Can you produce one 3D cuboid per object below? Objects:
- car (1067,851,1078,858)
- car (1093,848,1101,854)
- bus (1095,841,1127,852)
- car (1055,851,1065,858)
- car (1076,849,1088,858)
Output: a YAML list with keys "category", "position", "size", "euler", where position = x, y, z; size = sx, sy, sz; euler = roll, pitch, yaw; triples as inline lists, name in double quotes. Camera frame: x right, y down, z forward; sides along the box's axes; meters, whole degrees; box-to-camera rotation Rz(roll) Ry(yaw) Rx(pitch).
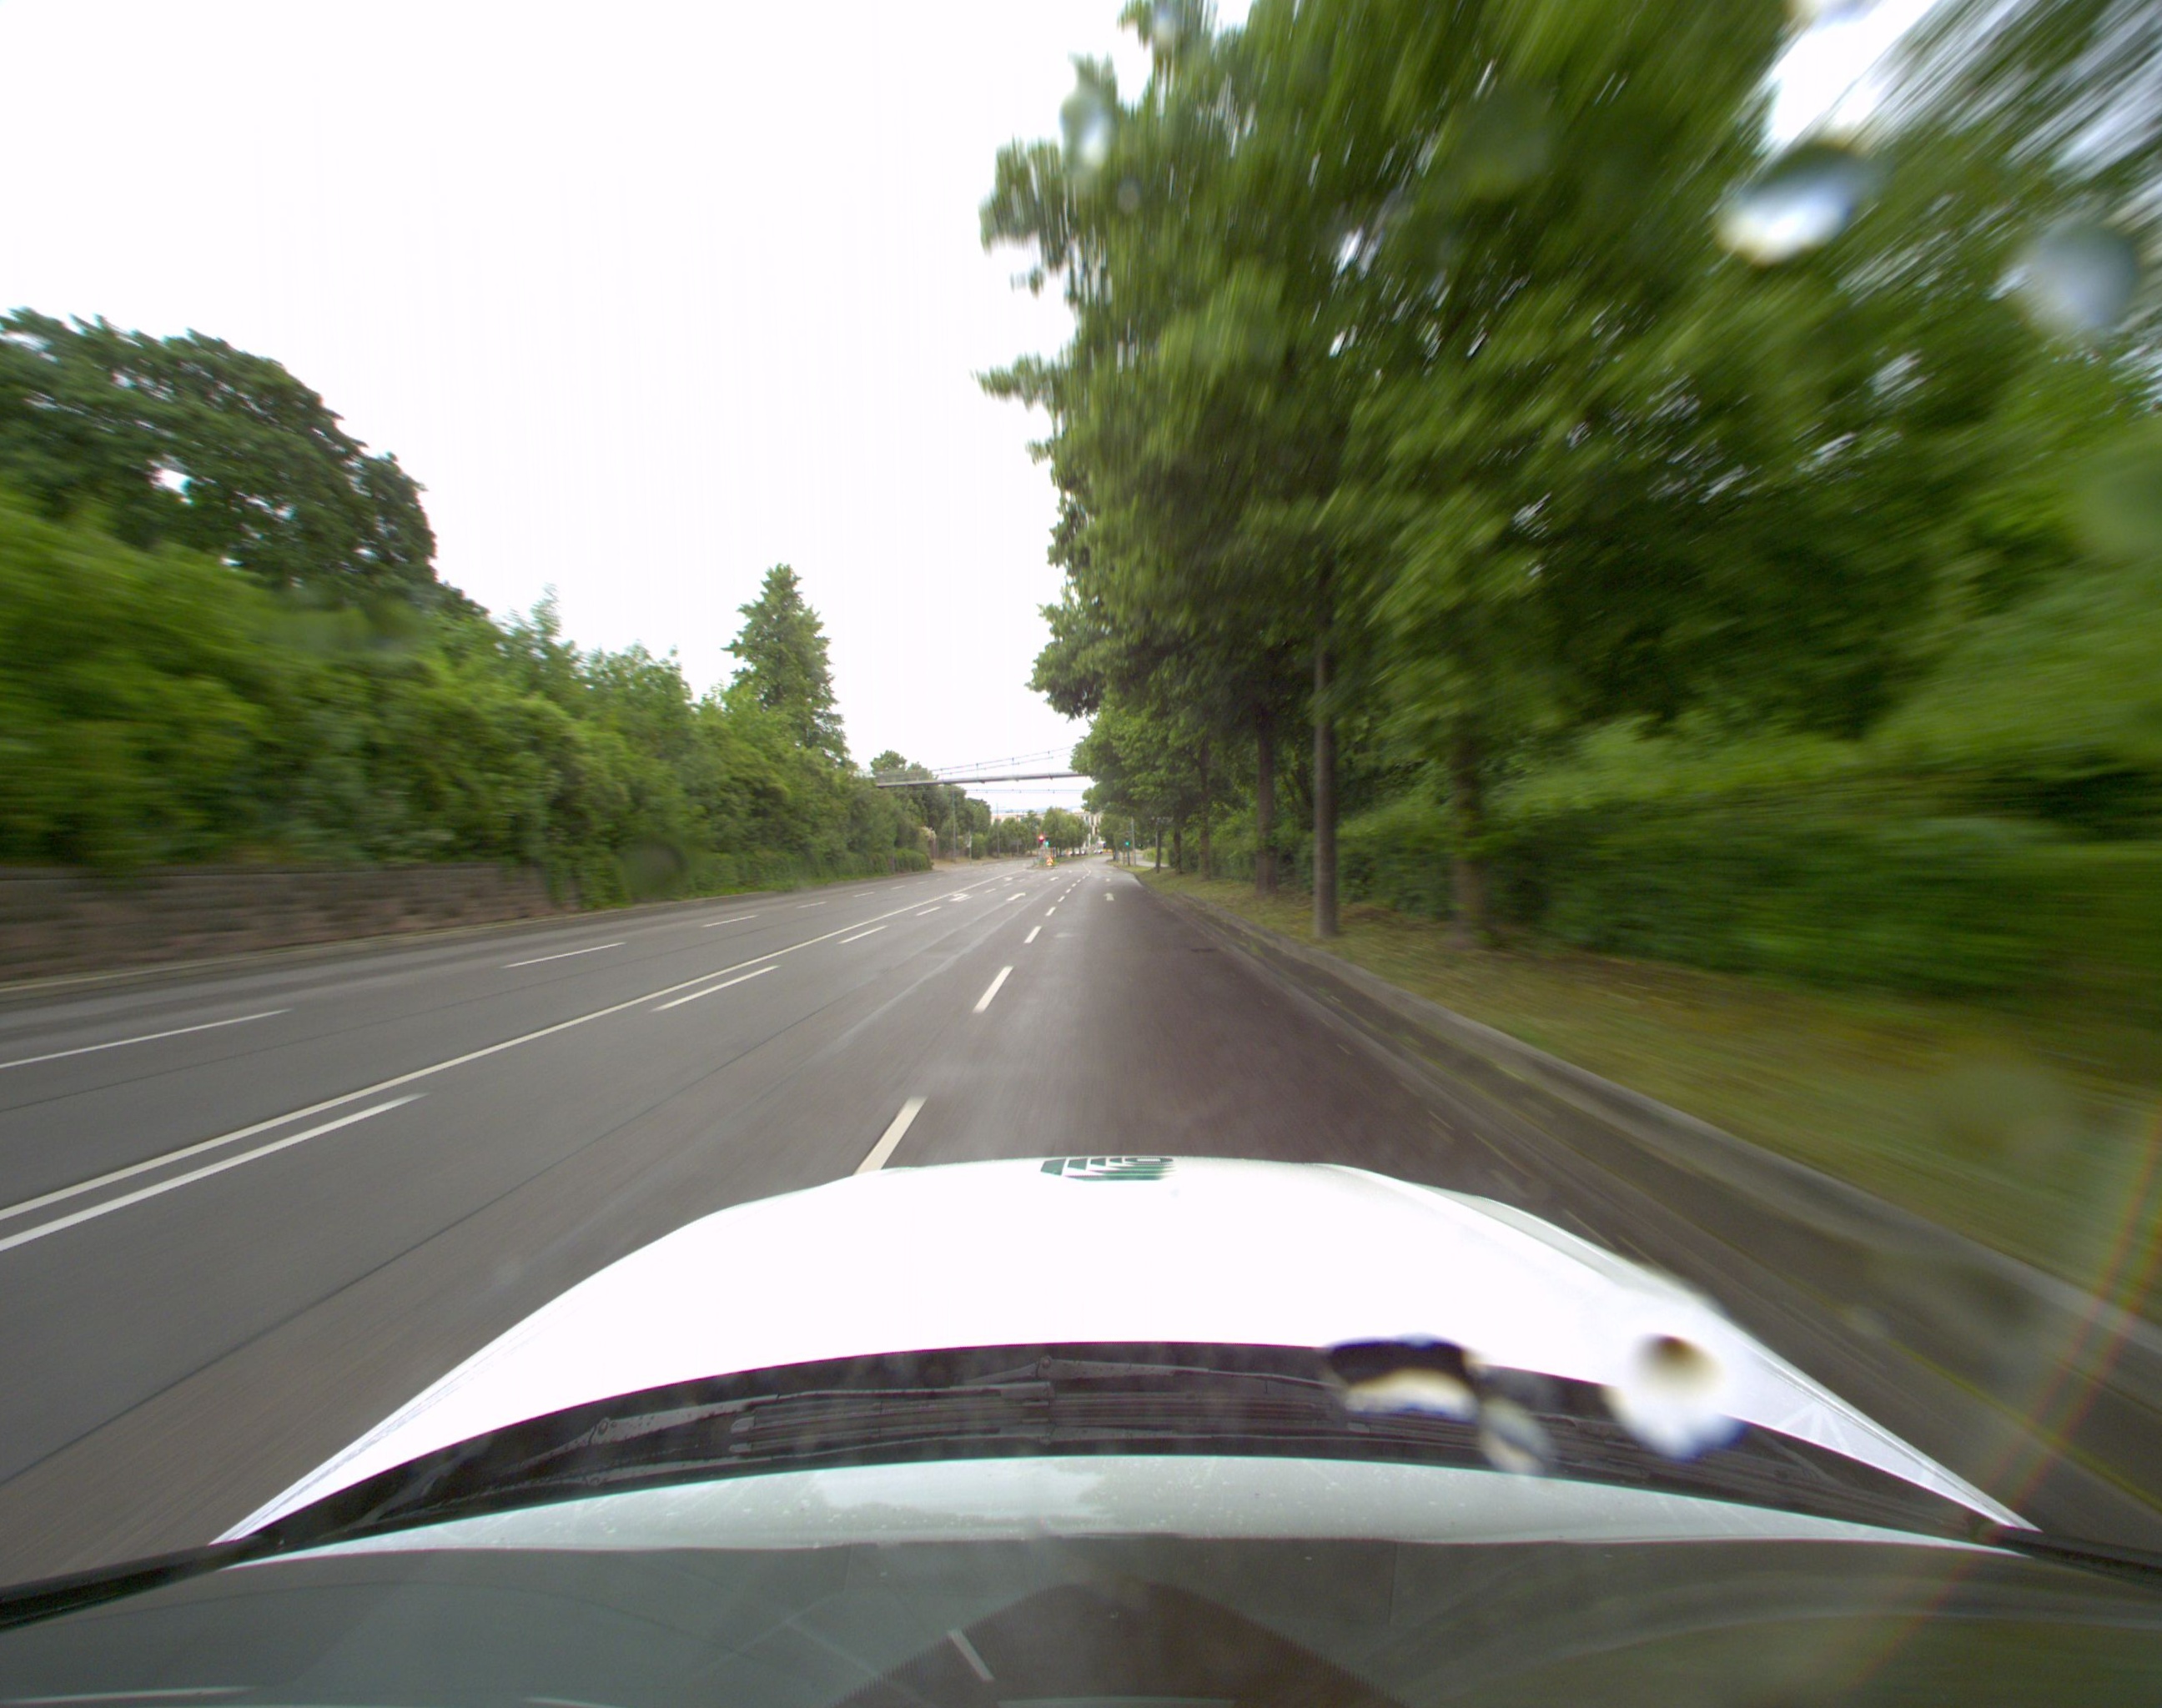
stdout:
- category: "car"
  position: [-2.038, 0.090, 198.660]
  size: [1.869, 1.595, 4.781]
  euler: [1, 0, 11]
- category: "car"
  position: [4.362, -0.745, 220.400]
  size: [1.675, 1.539, 2.925]
  euler: [0, 1, 11]
- category: "bus"
  position: [9.741, -2.320, 260.562]
  size: [2.759, 3.357, 18.334]
  euler: [-1, -1, 27]
- category: "car"
  position: [-4.687, 0.170, 183.731]
  size: [1.588, 1.489, 4.012]
  euler: [0, 0, 10]
- category: "car"
  position: [0.201, -0.115, 193.382]
  size: [2.001, 1.919, 5.110]
  euler: [0, 0, 10]
